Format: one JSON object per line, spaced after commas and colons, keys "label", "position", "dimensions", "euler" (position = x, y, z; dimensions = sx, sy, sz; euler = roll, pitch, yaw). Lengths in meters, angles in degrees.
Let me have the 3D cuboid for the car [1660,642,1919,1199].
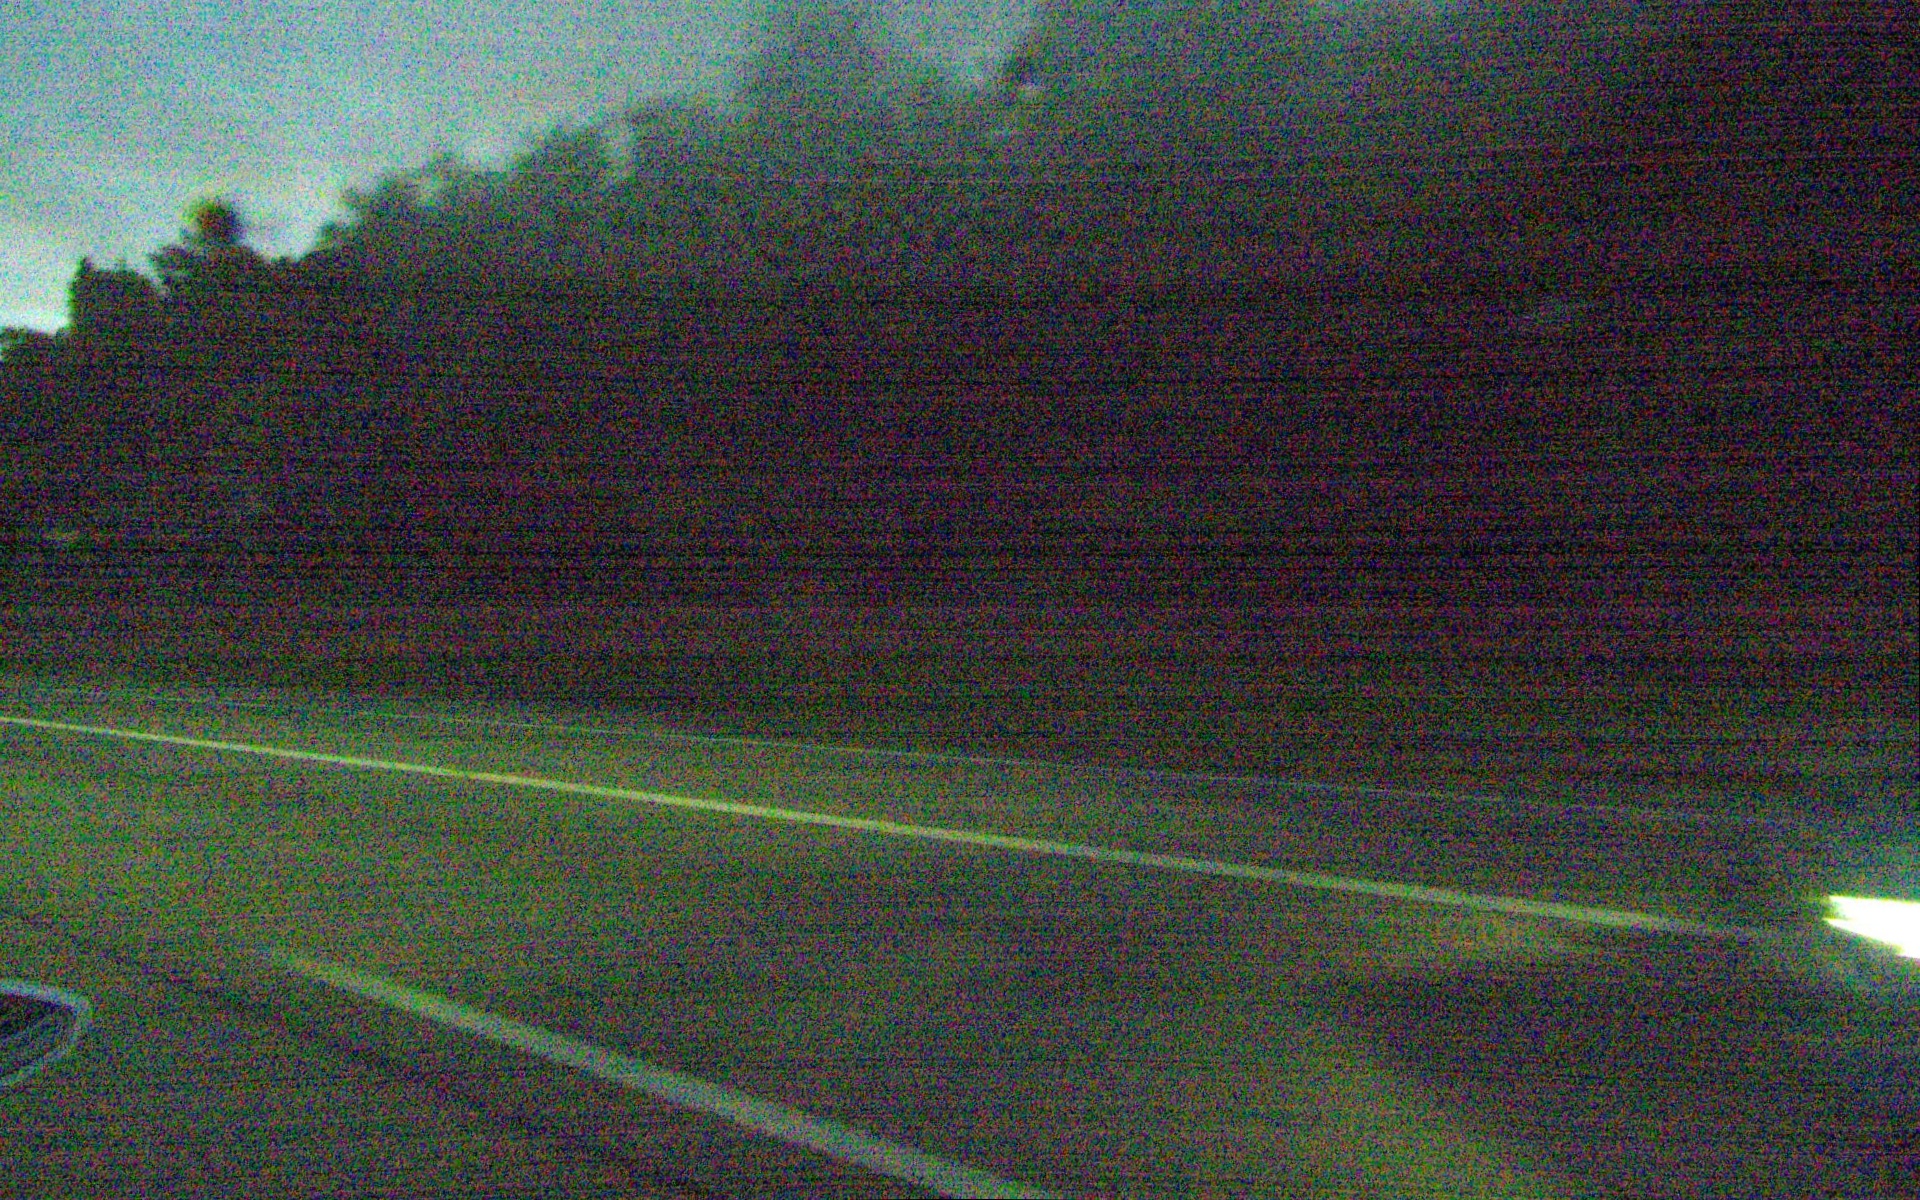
{"label": "car", "position": [4.386, 0.810, 2.237], "dimensions": [4.521, 1.453, 1.862], "euler": [-2, -3, 33]}
